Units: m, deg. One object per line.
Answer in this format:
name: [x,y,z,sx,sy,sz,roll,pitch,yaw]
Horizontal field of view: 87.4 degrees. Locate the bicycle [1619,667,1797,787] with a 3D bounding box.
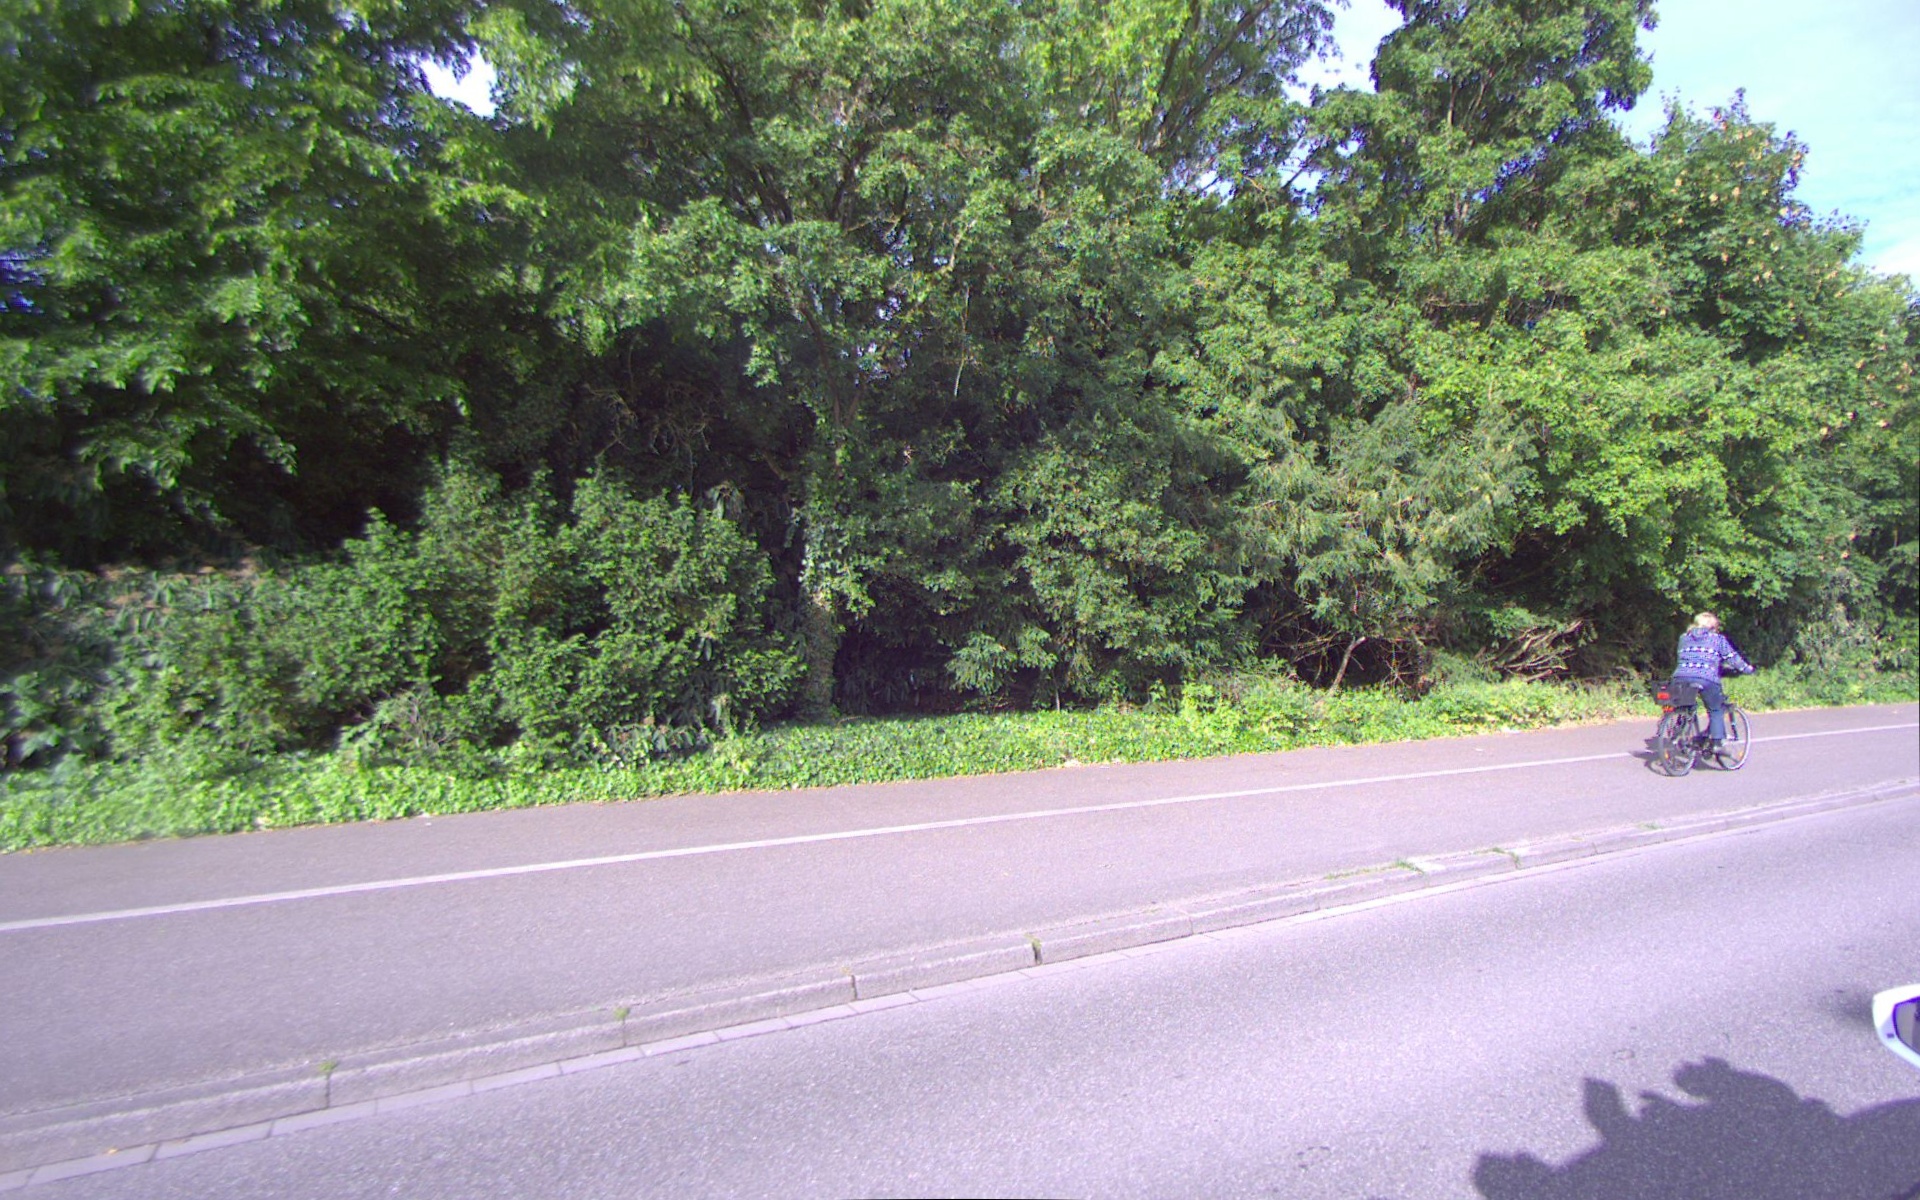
bicycle: [8.132,1.329,10.884,2.320,1.112,0.659,1,0,-29]

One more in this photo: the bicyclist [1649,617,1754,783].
bicyclist: [7.955,1.030,10.781,0.873,1.699,0.606,1,-1,-29]
